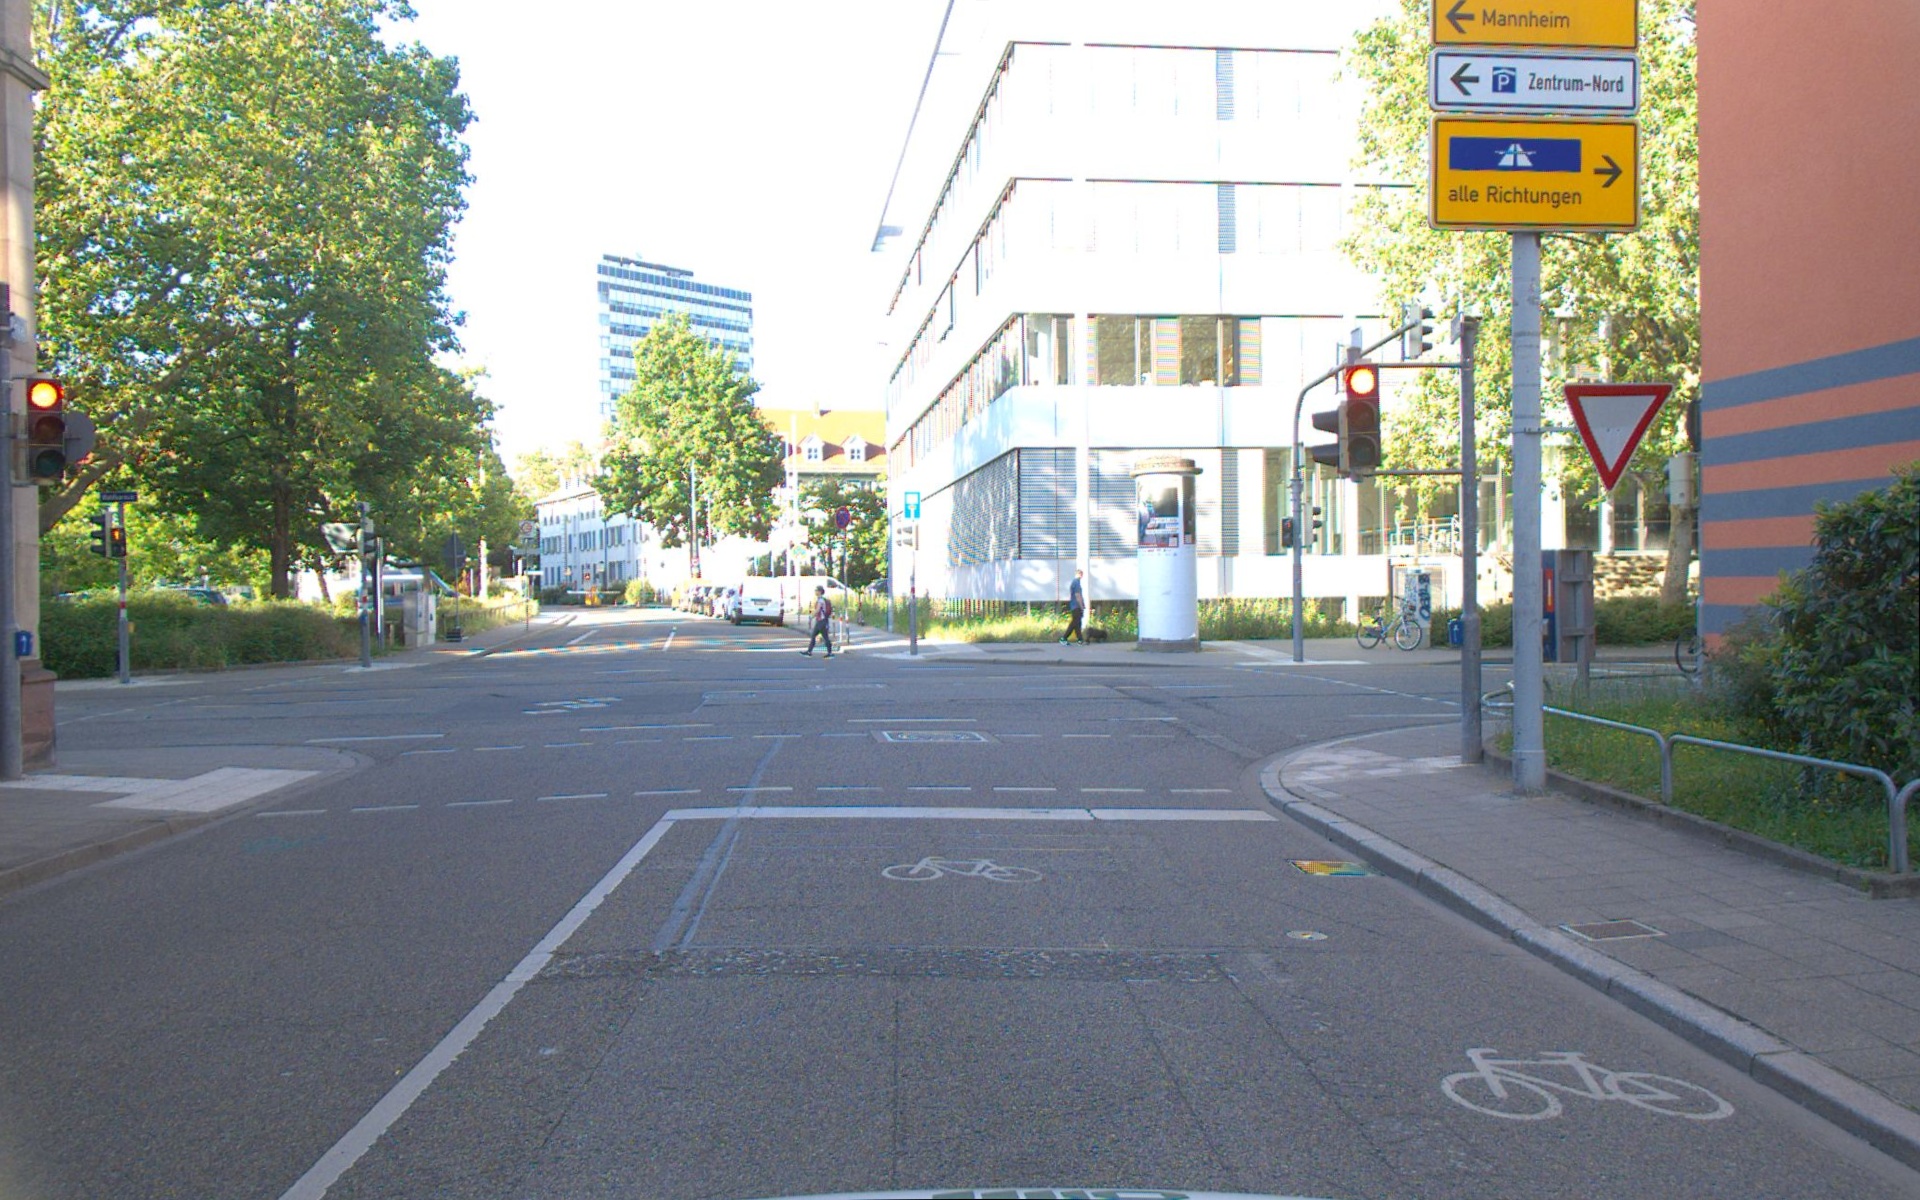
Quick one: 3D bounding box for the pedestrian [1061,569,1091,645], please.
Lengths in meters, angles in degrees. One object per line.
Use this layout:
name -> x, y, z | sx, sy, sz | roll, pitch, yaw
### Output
pedestrian -> 2.729, 0.161, 38.969 | 0.639, 1.766, 0.812 | -1, 0, 2

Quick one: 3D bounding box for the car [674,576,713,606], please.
car -> -15.390, -0.528, 95.421 | 2.063, 1.687, 4.463 | -1, 1, -11

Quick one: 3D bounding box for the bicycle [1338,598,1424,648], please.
bicycle -> 9.219, 0.498, 36.246 | 0.460, 1.067, 1.886 | -1, 1, -42

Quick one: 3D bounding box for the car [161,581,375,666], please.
car -> -15.769, 0.508, 37.901 | 4.146, 1.808, 1.901 | -1, 0, -9

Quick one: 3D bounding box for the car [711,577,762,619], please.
car -> -10.328, -0.116, 76.255 | 1.913, 1.826, 4.224 | -1, 1, -13

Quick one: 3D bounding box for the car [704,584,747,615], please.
car -> -11.489, -0.028, 80.816 | 1.675, 1.449, 4.223 | -1, 1, -14

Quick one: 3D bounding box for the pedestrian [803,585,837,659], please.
pedestrian -> -3.118, 0.480, 36.914 | 0.697, 1.627, 0.617 | -1, 0, -1

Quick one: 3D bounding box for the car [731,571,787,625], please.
car -> -7.869, -0.102, 64.518 | 2.029, 1.997, 4.229 | -1, 1, -9

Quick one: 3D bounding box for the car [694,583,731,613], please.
car -> -12.857, -0.104, 85.638 | 1.674, 1.489, 4.226 | -1, 1, -11

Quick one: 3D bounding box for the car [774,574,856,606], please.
car -> -9.029, -0.604, 102.721 | 4.804, 1.905, 1.990 | 0, 0, -17
